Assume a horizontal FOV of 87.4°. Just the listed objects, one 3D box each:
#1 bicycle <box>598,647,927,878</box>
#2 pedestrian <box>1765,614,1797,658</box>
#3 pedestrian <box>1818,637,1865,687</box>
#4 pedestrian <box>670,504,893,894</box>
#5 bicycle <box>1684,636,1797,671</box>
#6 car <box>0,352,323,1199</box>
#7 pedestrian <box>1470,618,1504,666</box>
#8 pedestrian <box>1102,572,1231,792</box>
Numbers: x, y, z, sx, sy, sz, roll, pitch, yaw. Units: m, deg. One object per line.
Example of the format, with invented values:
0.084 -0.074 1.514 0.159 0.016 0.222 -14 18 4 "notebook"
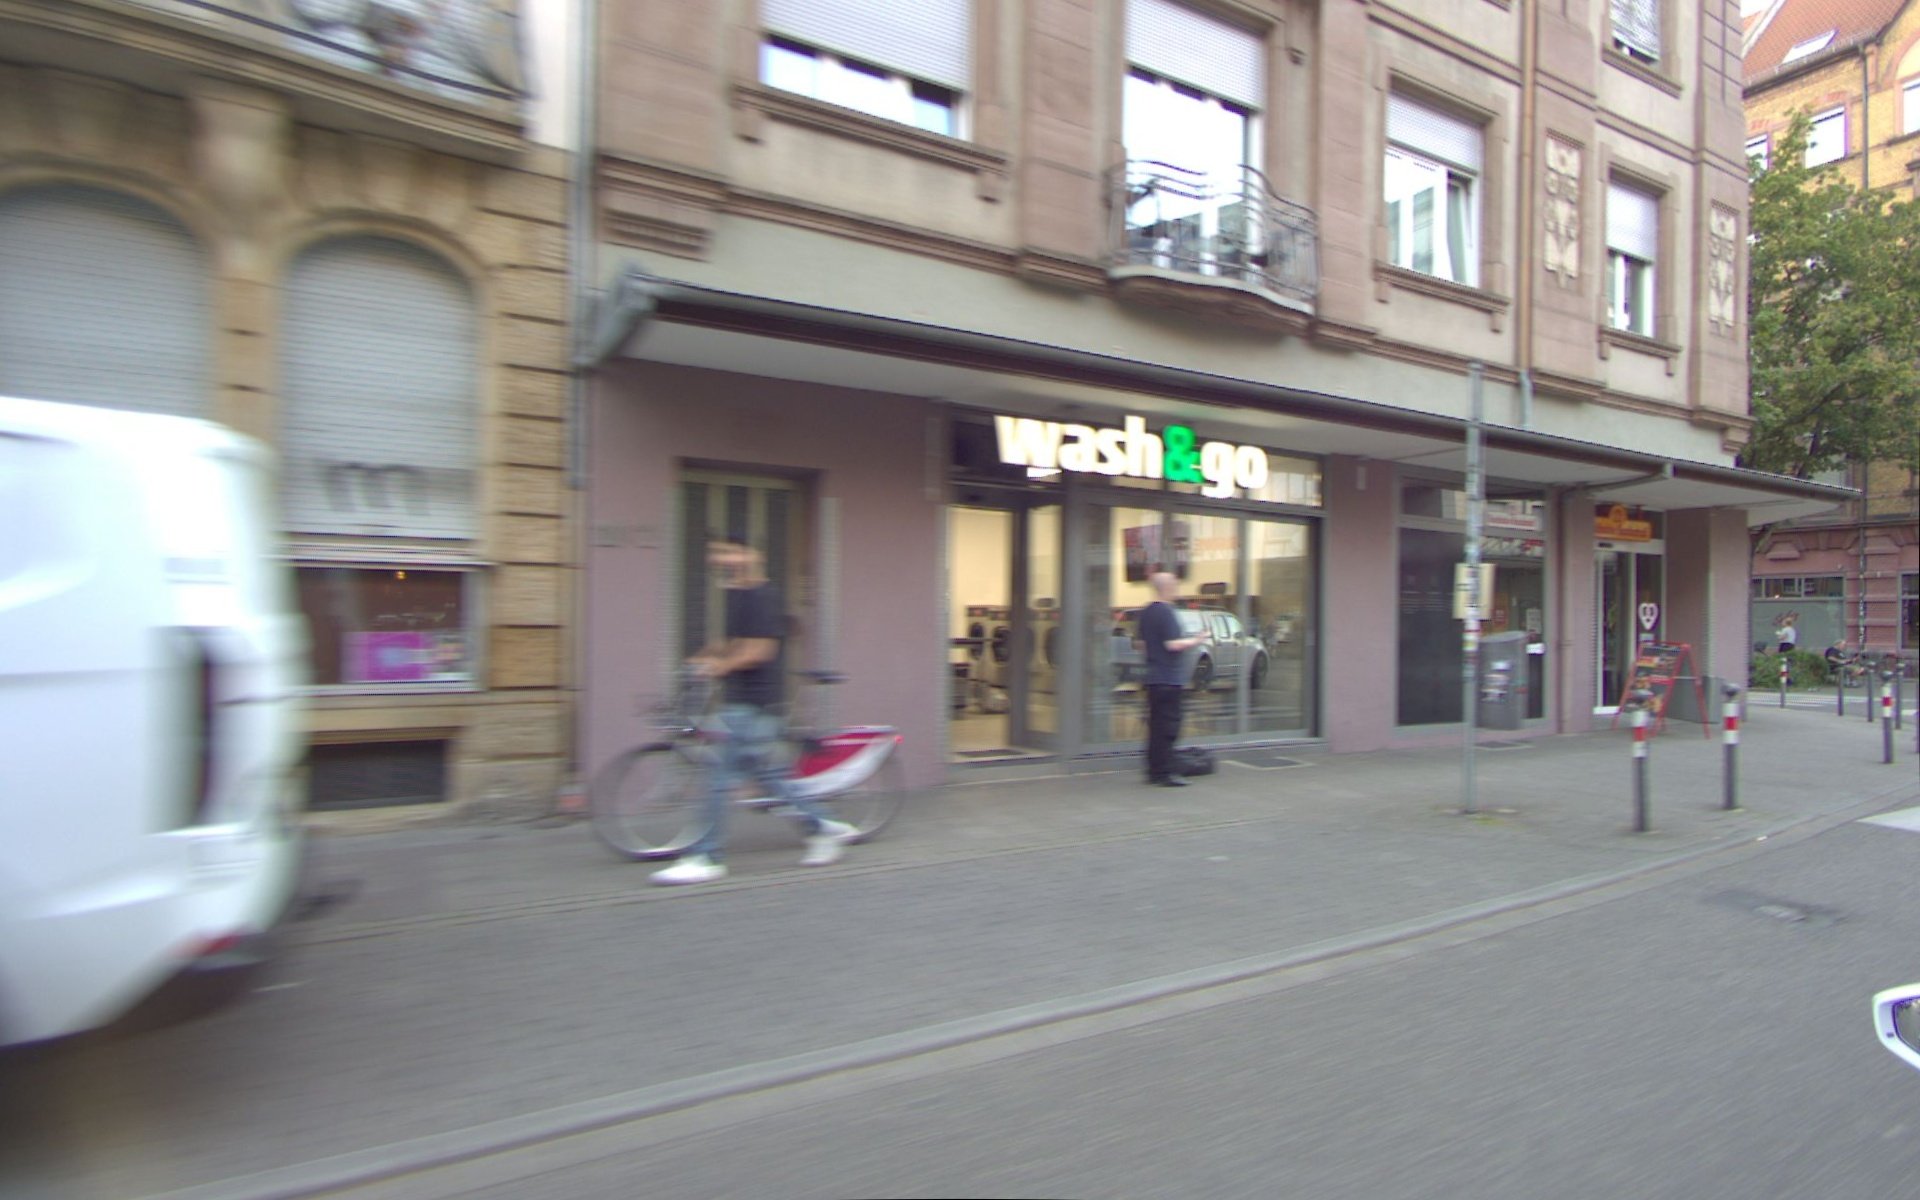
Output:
-1.103 0.872 5.751 1.761 1.157 0.470 2 0 -26 "bicycle"
24.905 1.090 30.457 0.564 1.279 0.456 2 0 -4 "pedestrian"
23.522 1.648 26.814 0.660 1.279 0.750 2 0 -30 "pedestrian"
-0.931 0.483 5.213 0.983 1.848 0.535 2 0 -26 "pedestrian"
25.182 1.709 32.490 0.618 0.971 2.883 2 0 -29 "bicycle"
-4.399 0.371 2.182 4.968 1.947 2.099 1 -1 -31 "car"
19.789 1.585 37.725 0.903 1.748 0.668 2 0 4 "pedestrian"
1.678 0.635 8.221 0.726 1.700 0.707 1 0 -26 "pedestrian"
